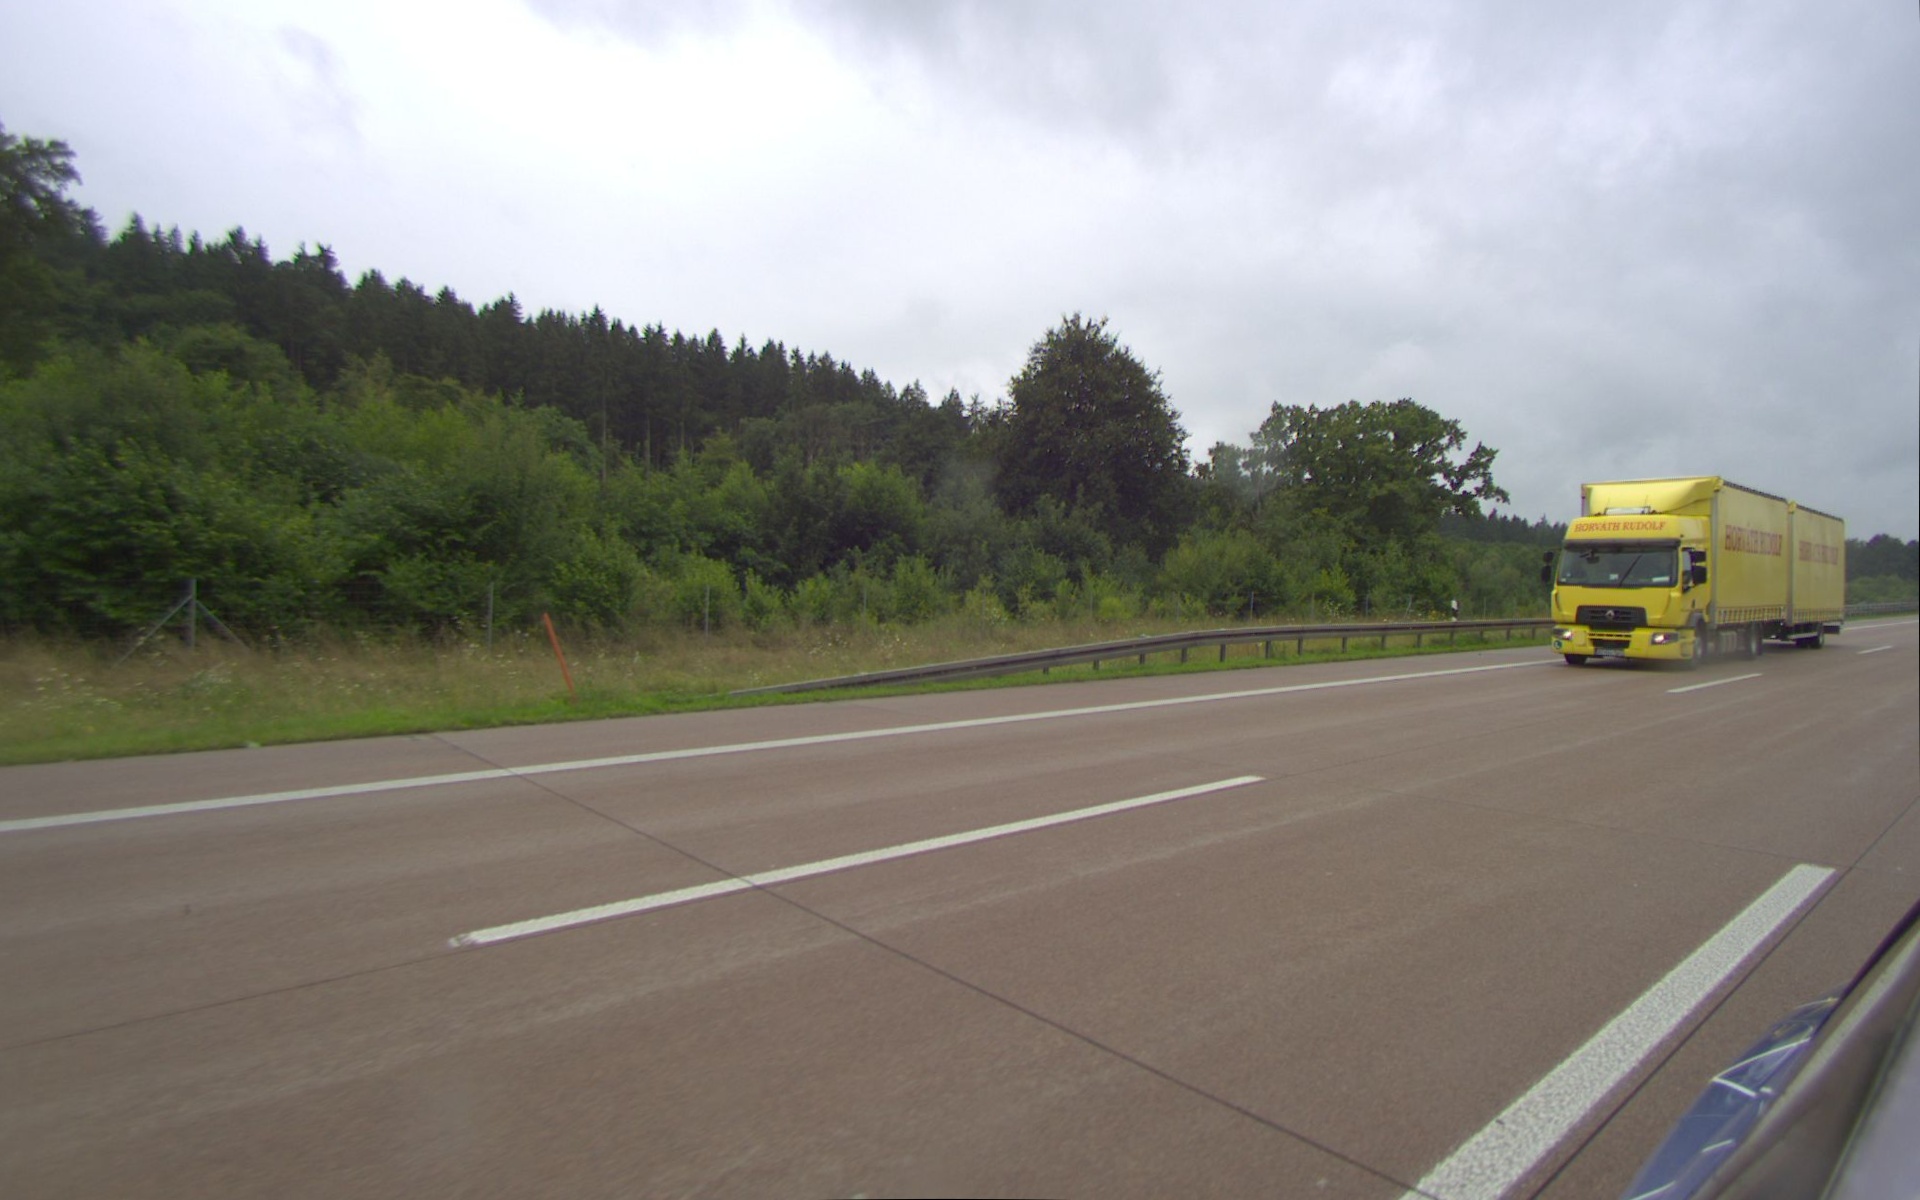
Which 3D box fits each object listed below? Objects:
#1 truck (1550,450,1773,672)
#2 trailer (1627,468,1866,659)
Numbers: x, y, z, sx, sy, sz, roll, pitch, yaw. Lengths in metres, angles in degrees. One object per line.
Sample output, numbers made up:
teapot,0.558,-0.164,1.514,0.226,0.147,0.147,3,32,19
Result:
truck,15.686,-0.799,22.469,6.140,4.267,2.608,-1,0,-41
trailer,22.327,-0.902,28.201,13.833,4.281,2.570,-1,0,-41
